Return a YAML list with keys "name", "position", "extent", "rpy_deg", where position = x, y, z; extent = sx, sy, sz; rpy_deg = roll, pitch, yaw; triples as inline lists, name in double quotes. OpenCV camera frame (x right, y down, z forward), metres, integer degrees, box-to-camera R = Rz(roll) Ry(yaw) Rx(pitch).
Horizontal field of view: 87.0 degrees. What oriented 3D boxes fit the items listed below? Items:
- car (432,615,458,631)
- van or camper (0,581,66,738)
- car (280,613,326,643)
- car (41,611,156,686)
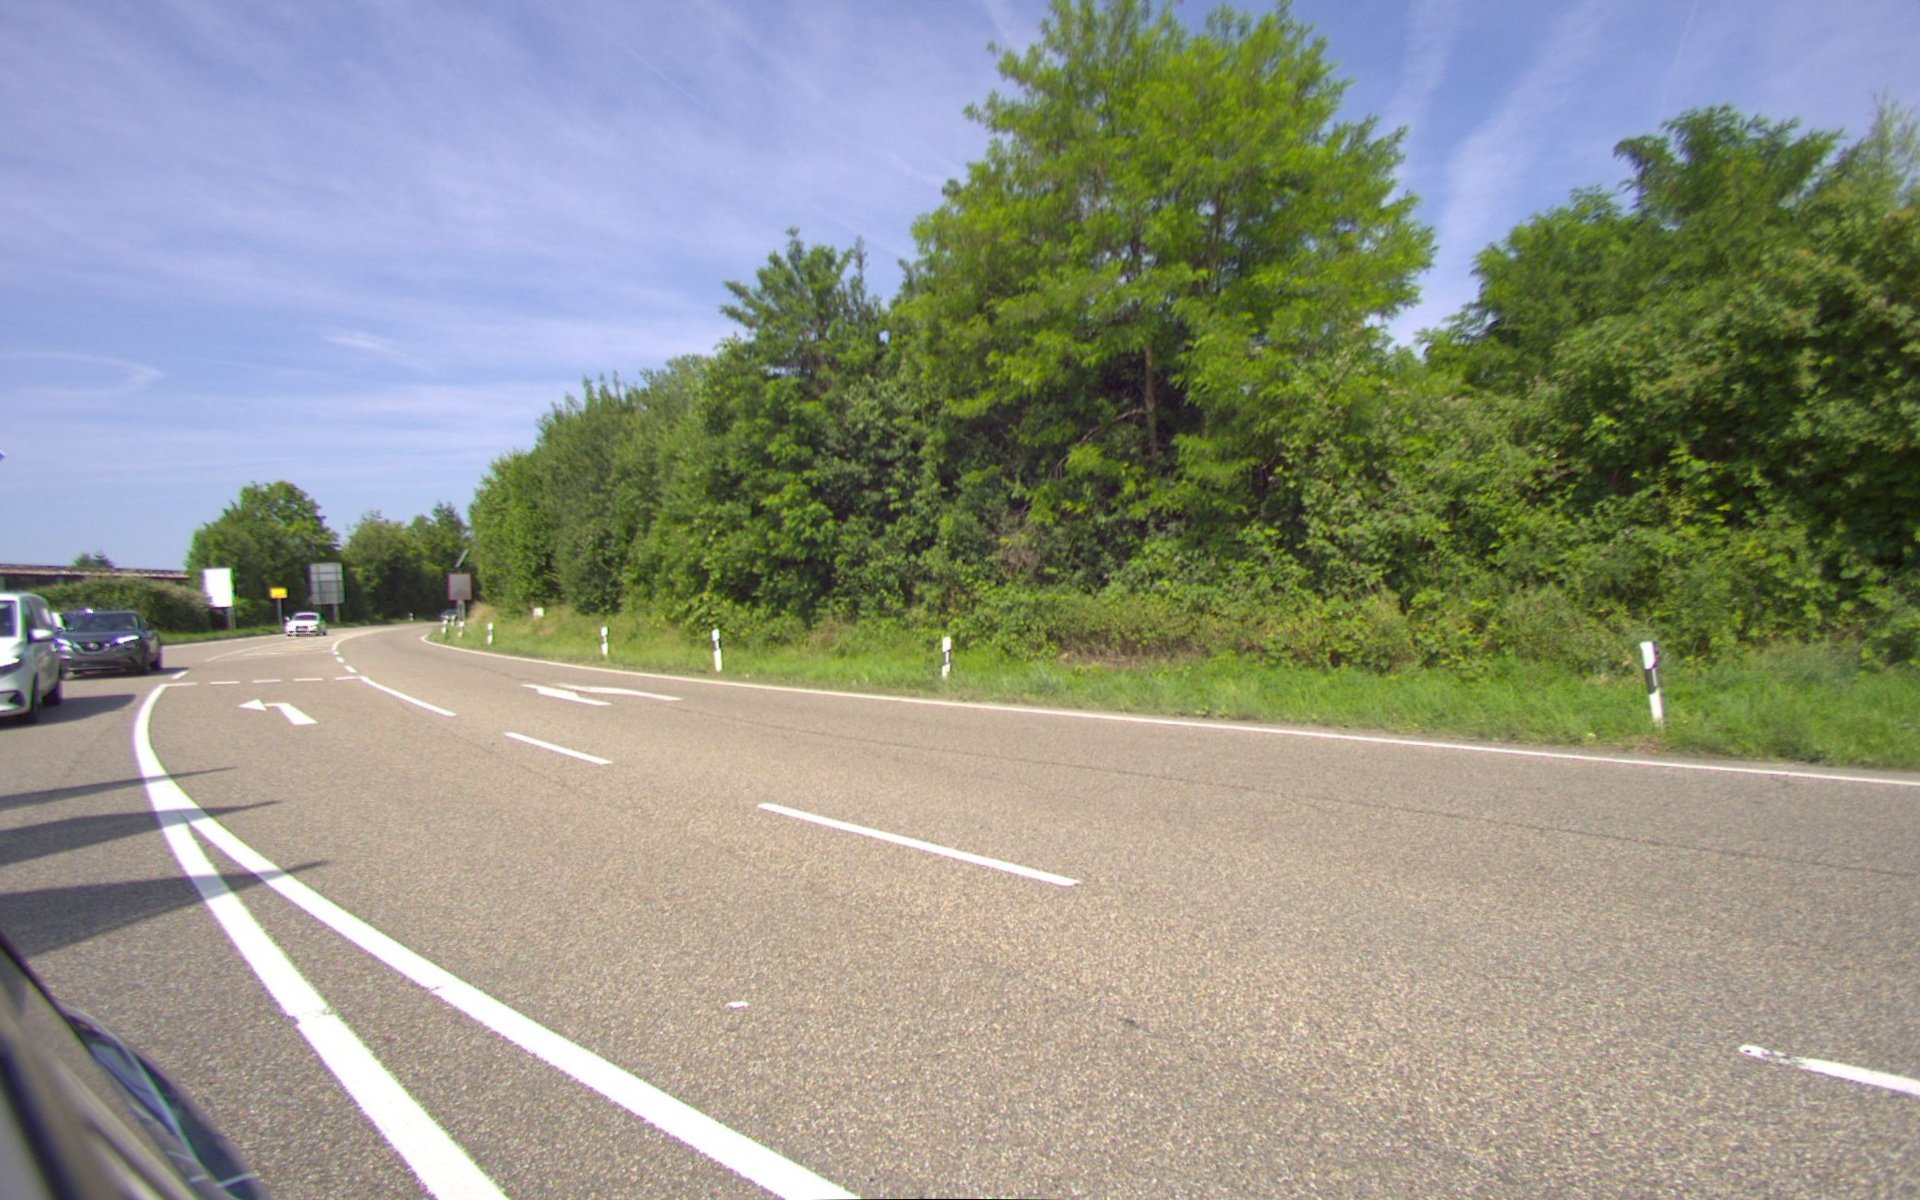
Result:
- name: "car"
  position: [-61.266, 2.728, 120.409]
  extent: [1.837, 1.653, 4.434]
  rpy_deg: [-2, 1, -16]
- name: "van or camper"
  position: [-14.669, 0.843, 14.805]
  extent: [1.968, 2.029, 5.301]
  rpy_deg: [-3, 1, -38]
- name: "car"
  position: [-40.517, 1.709, 62.528]
  extent: [1.837, 1.653, 4.436]
  rpy_deg: [-3, 1, -27]
- name: "car"
  position: [-20.518, 1.096, 24.231]
  extent: [1.793, 1.552, 3.735]
  rpy_deg: [-3, 1, -37]
